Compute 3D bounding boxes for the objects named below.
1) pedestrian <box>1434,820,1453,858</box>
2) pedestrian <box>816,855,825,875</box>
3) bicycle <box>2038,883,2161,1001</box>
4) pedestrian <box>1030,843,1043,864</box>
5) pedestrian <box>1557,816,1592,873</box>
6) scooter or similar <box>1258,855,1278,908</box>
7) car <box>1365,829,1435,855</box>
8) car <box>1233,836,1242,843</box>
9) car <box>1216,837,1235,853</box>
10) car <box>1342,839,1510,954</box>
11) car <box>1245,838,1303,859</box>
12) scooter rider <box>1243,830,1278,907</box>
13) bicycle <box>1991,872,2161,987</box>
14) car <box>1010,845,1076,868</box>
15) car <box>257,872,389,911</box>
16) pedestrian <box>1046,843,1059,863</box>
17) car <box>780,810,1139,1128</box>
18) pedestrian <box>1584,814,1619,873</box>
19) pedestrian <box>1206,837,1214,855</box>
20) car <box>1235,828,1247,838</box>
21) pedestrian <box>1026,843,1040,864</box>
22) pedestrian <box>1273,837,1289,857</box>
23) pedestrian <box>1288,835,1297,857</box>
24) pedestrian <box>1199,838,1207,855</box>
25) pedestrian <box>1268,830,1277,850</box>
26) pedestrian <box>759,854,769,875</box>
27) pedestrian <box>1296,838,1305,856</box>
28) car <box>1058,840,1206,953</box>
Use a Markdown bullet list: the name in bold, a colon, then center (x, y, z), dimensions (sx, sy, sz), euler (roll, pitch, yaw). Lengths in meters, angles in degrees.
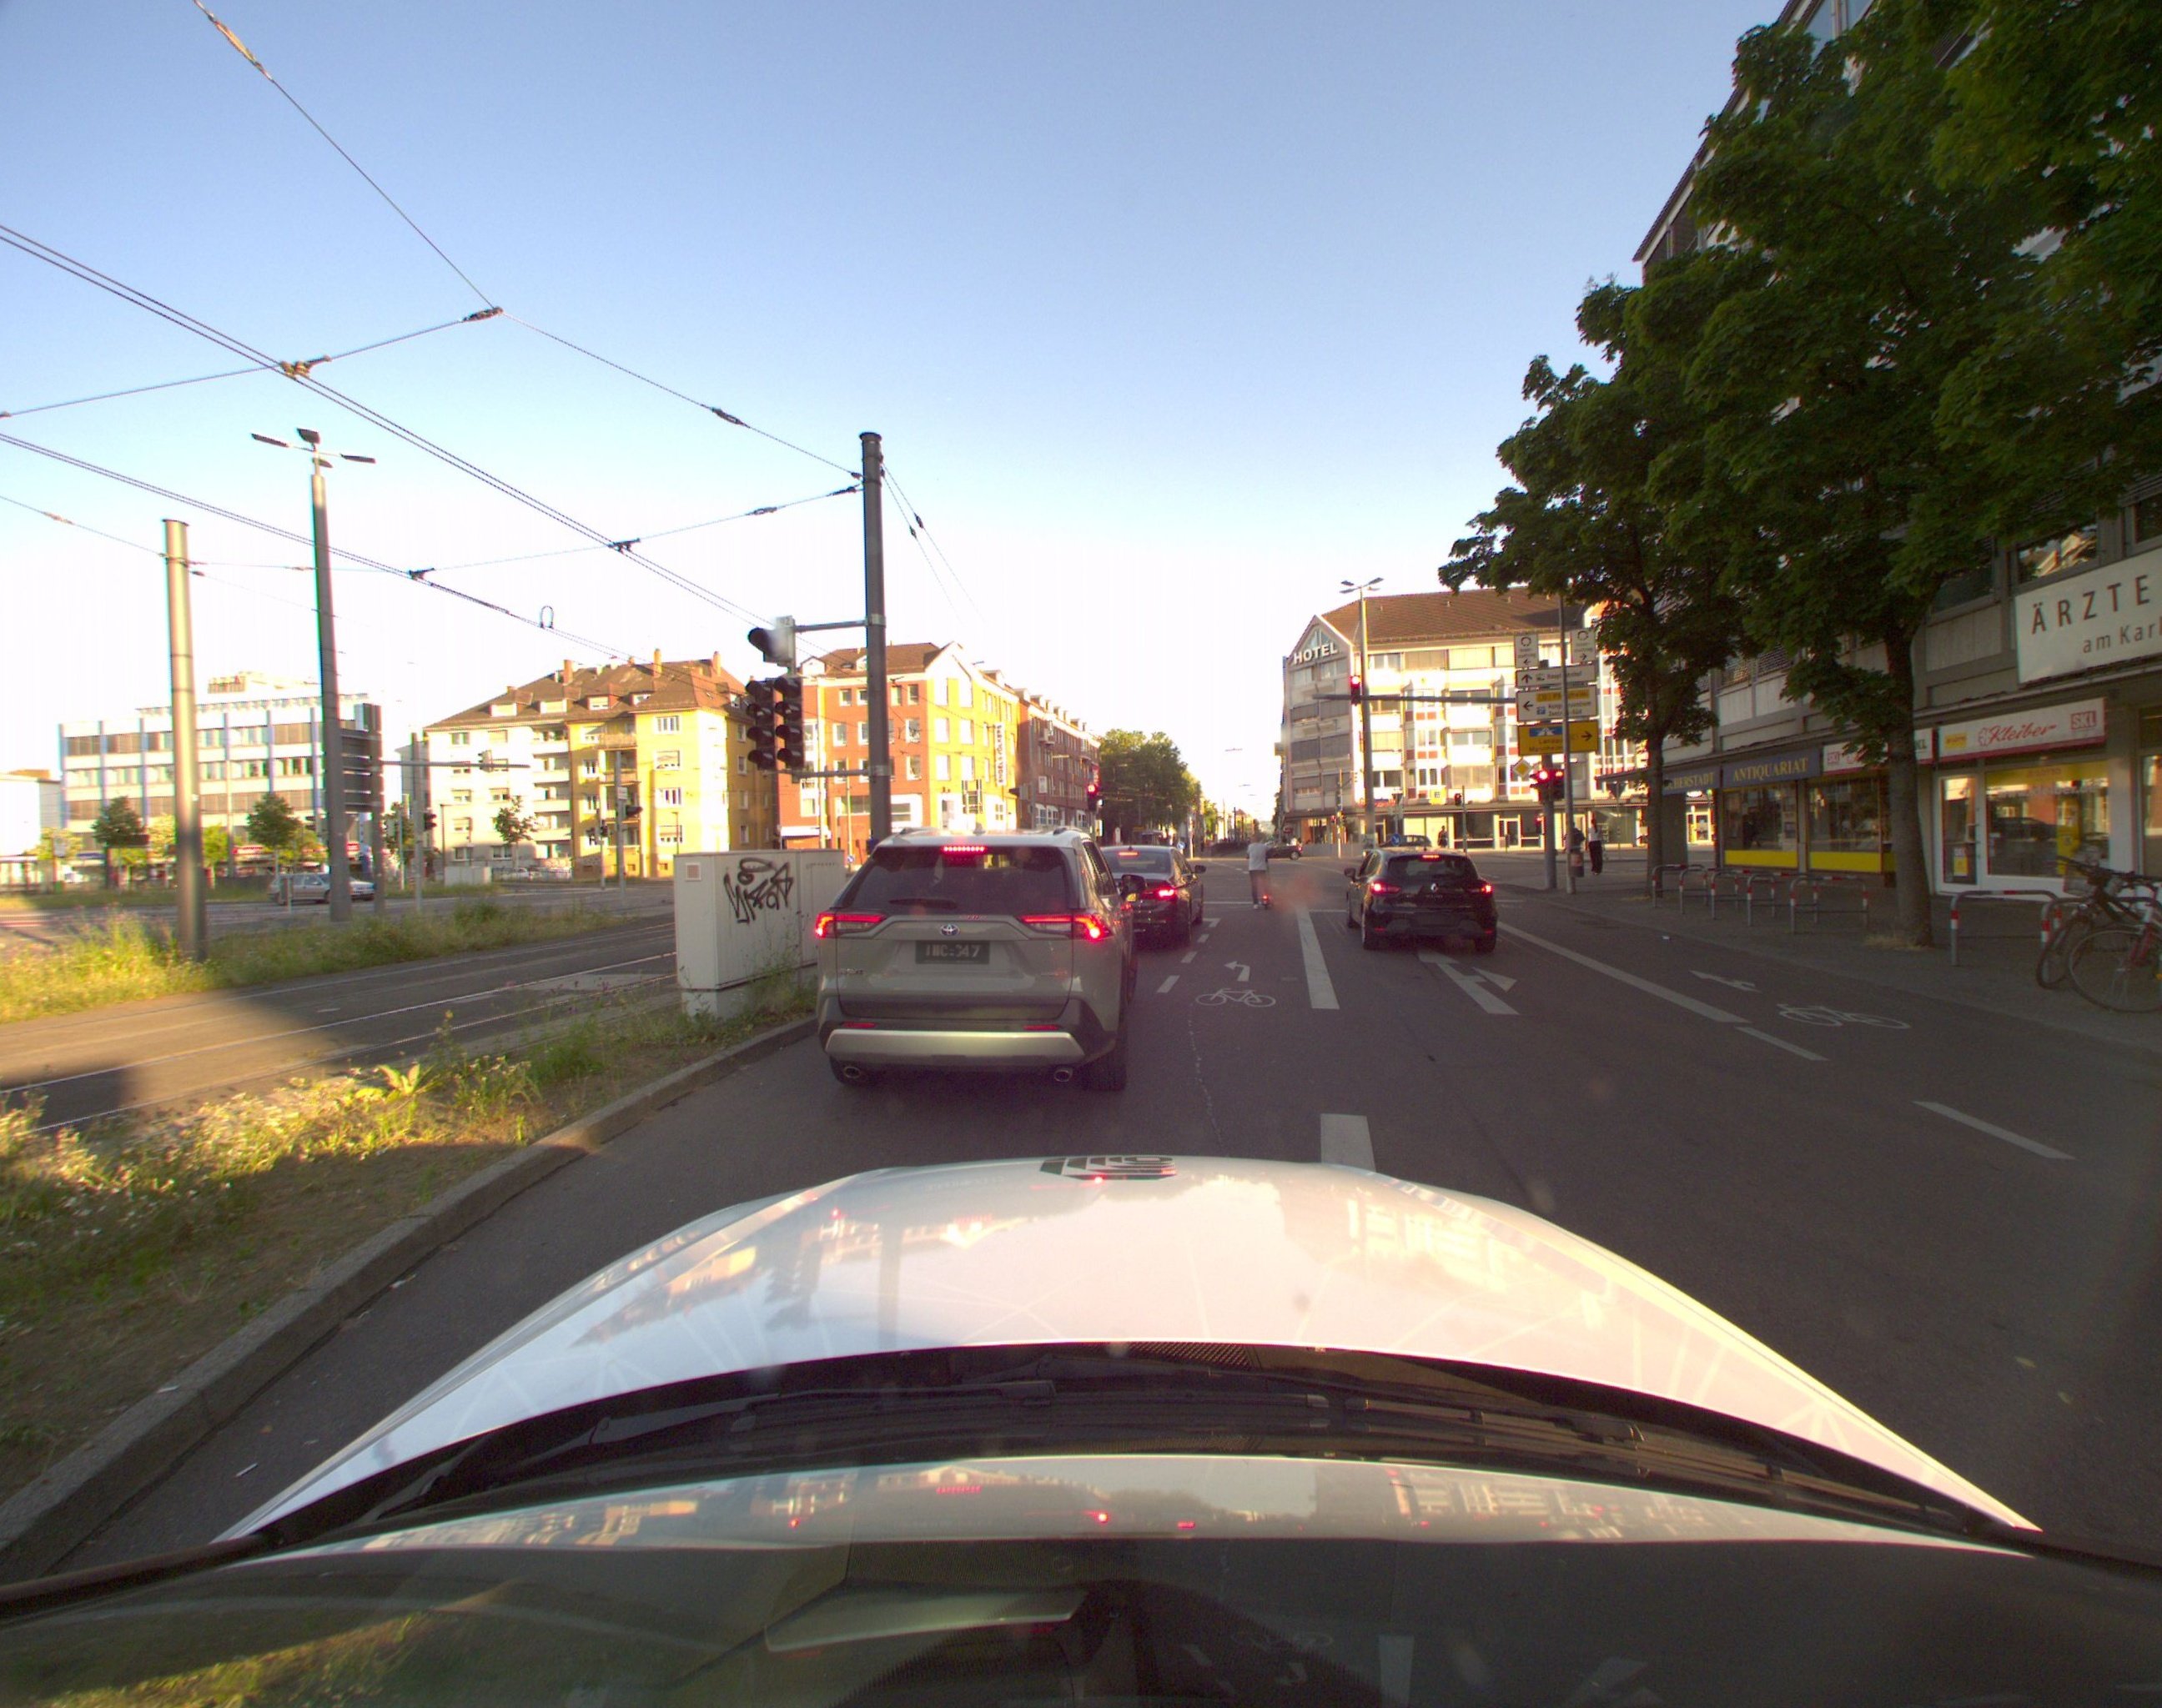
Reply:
- **pedestrian**: center (17.181, -0.727, 38.609), dimensions (0.741, 1.778, 0.803), euler (0, 0, 16)
- **pedestrian**: center (-22.296, 0.947, 69.596), dimensions (0.547, 1.642, 0.502), euler (0, 1, 12)
- **bicycle**: center (8.877, 0.694, 6.392), dimensions (1.802, 0.891, 0.417), euler (0, 1, 20)
- **pedestrian**: center (-4.399, -0.044, 80.893), dimensions (1.086, 2.013, 0.911), euler (0, 1, 11)
- **pedestrian**: center (16.092, -0.308, 26.564), dimensions (1.003, 1.830, 0.720), euler (-1, 1, -42)
- **scooter or similar**: center (4.080, 0.576, 17.743), dimensions (0.277, 1.090, 1.263), euler (0, 1, 20)
- **car**: center (22.075, -0.826, 56.506), dimensions (4.206, 1.696, 2.006), euler (0, 1, 11)
- **car**: center (38.714, -3.569, 201.497), dimensions (1.979, 1.859, 4.017), euler (0, 1, 15)
- **car**: center (16.472, -1.025, 92.508), dimensions (1.798, 1.746, 3.730), euler (0, 1, 15)
- **car**: center (5.067, 0.509, 12.477), dimensions (1.752, 1.440, 4.015), euler (0, 1, 14)
- **car**: center (13.724, -0.400, 57.972), dimensions (3.961, 1.476, 2.007), euler (0, 1, 11)
- **scooter rider**: center (3.939, 0.301, 17.832), dimensions (0.656, 1.647, 0.665), euler (0, 1, 21)
- **bicycle**: center (9.283, 0.657, 7.211), dimensions (1.643, 0.974, 0.388), euler (0, 1, 20)
- **car**: center (-2.830, 0.155, 60.512), dimensions (4.523, 1.620, 2.004), euler (-1, 1, 10)
- **car**: center (-34.567, 1.694, 37.213), dimensions (4.316, 1.551, 2.003), euler (-1, 1, 5)
- **pedestrian**: center (-2.962, -0.098, 84.354), dimensions (1.086, 2.013, 1.167), euler (0, 1, 11)
- **car**: center (-0.501, 0.566, 6.283), dimensions (1.827, 1.636, 4.096), euler (-1, 1, 5)
- **pedestrian**: center (16.588, -0.338, 25.975), dimensions (1.003, 1.830, 0.720), euler (-1, 1, -43)
- **pedestrian**: center (12.780, -0.791, 80.622), dimensions (0.696, 1.822, 0.811), euler (0, 1, 15)
- **car**: center (30.983, -4.077, 157.776), dimensions (1.979, 1.900, 4.016), euler (0, 1, 14)
- **pedestrian**: center (-4.680, -0.042, 79.622), dimensions (1.086, 2.013, 0.911), euler (0, 1, 11)
- **pedestrian**: center (16.712, -0.584, 68.115), dimensions (0.937, 1.726, 0.845), euler (-1, 1, -28)
- **pedestrian**: center (17.635, -0.687, 67.766), dimensions (0.495, 1.774, 0.472), euler (-2, 0, -25)
- **pedestrian**: center (12.160, -0.715, 81.110), dimensions (0.696, 1.663, 0.811), euler (0, 1, 15)
- **pedestrian**: center (20.892, -1.514, 88.653), dimensions (0.926, 2.196, 0.855), euler (0, 1, 10)
- **pedestrian**: center (-27.467, 0.916, 70.587), dimensions (0.666, 1.743, 0.687), euler (-1, 0, -13)
- **pedestrian**: center (18.273, -0.568, 67.865), dimensions (0.495, 1.503, 0.472), euler (-2, 1, -25)
- **car**: center (1.004, 0.533, 13.178), dimensions (1.733, 1.460, 4.425), euler (0, 2, 12)
